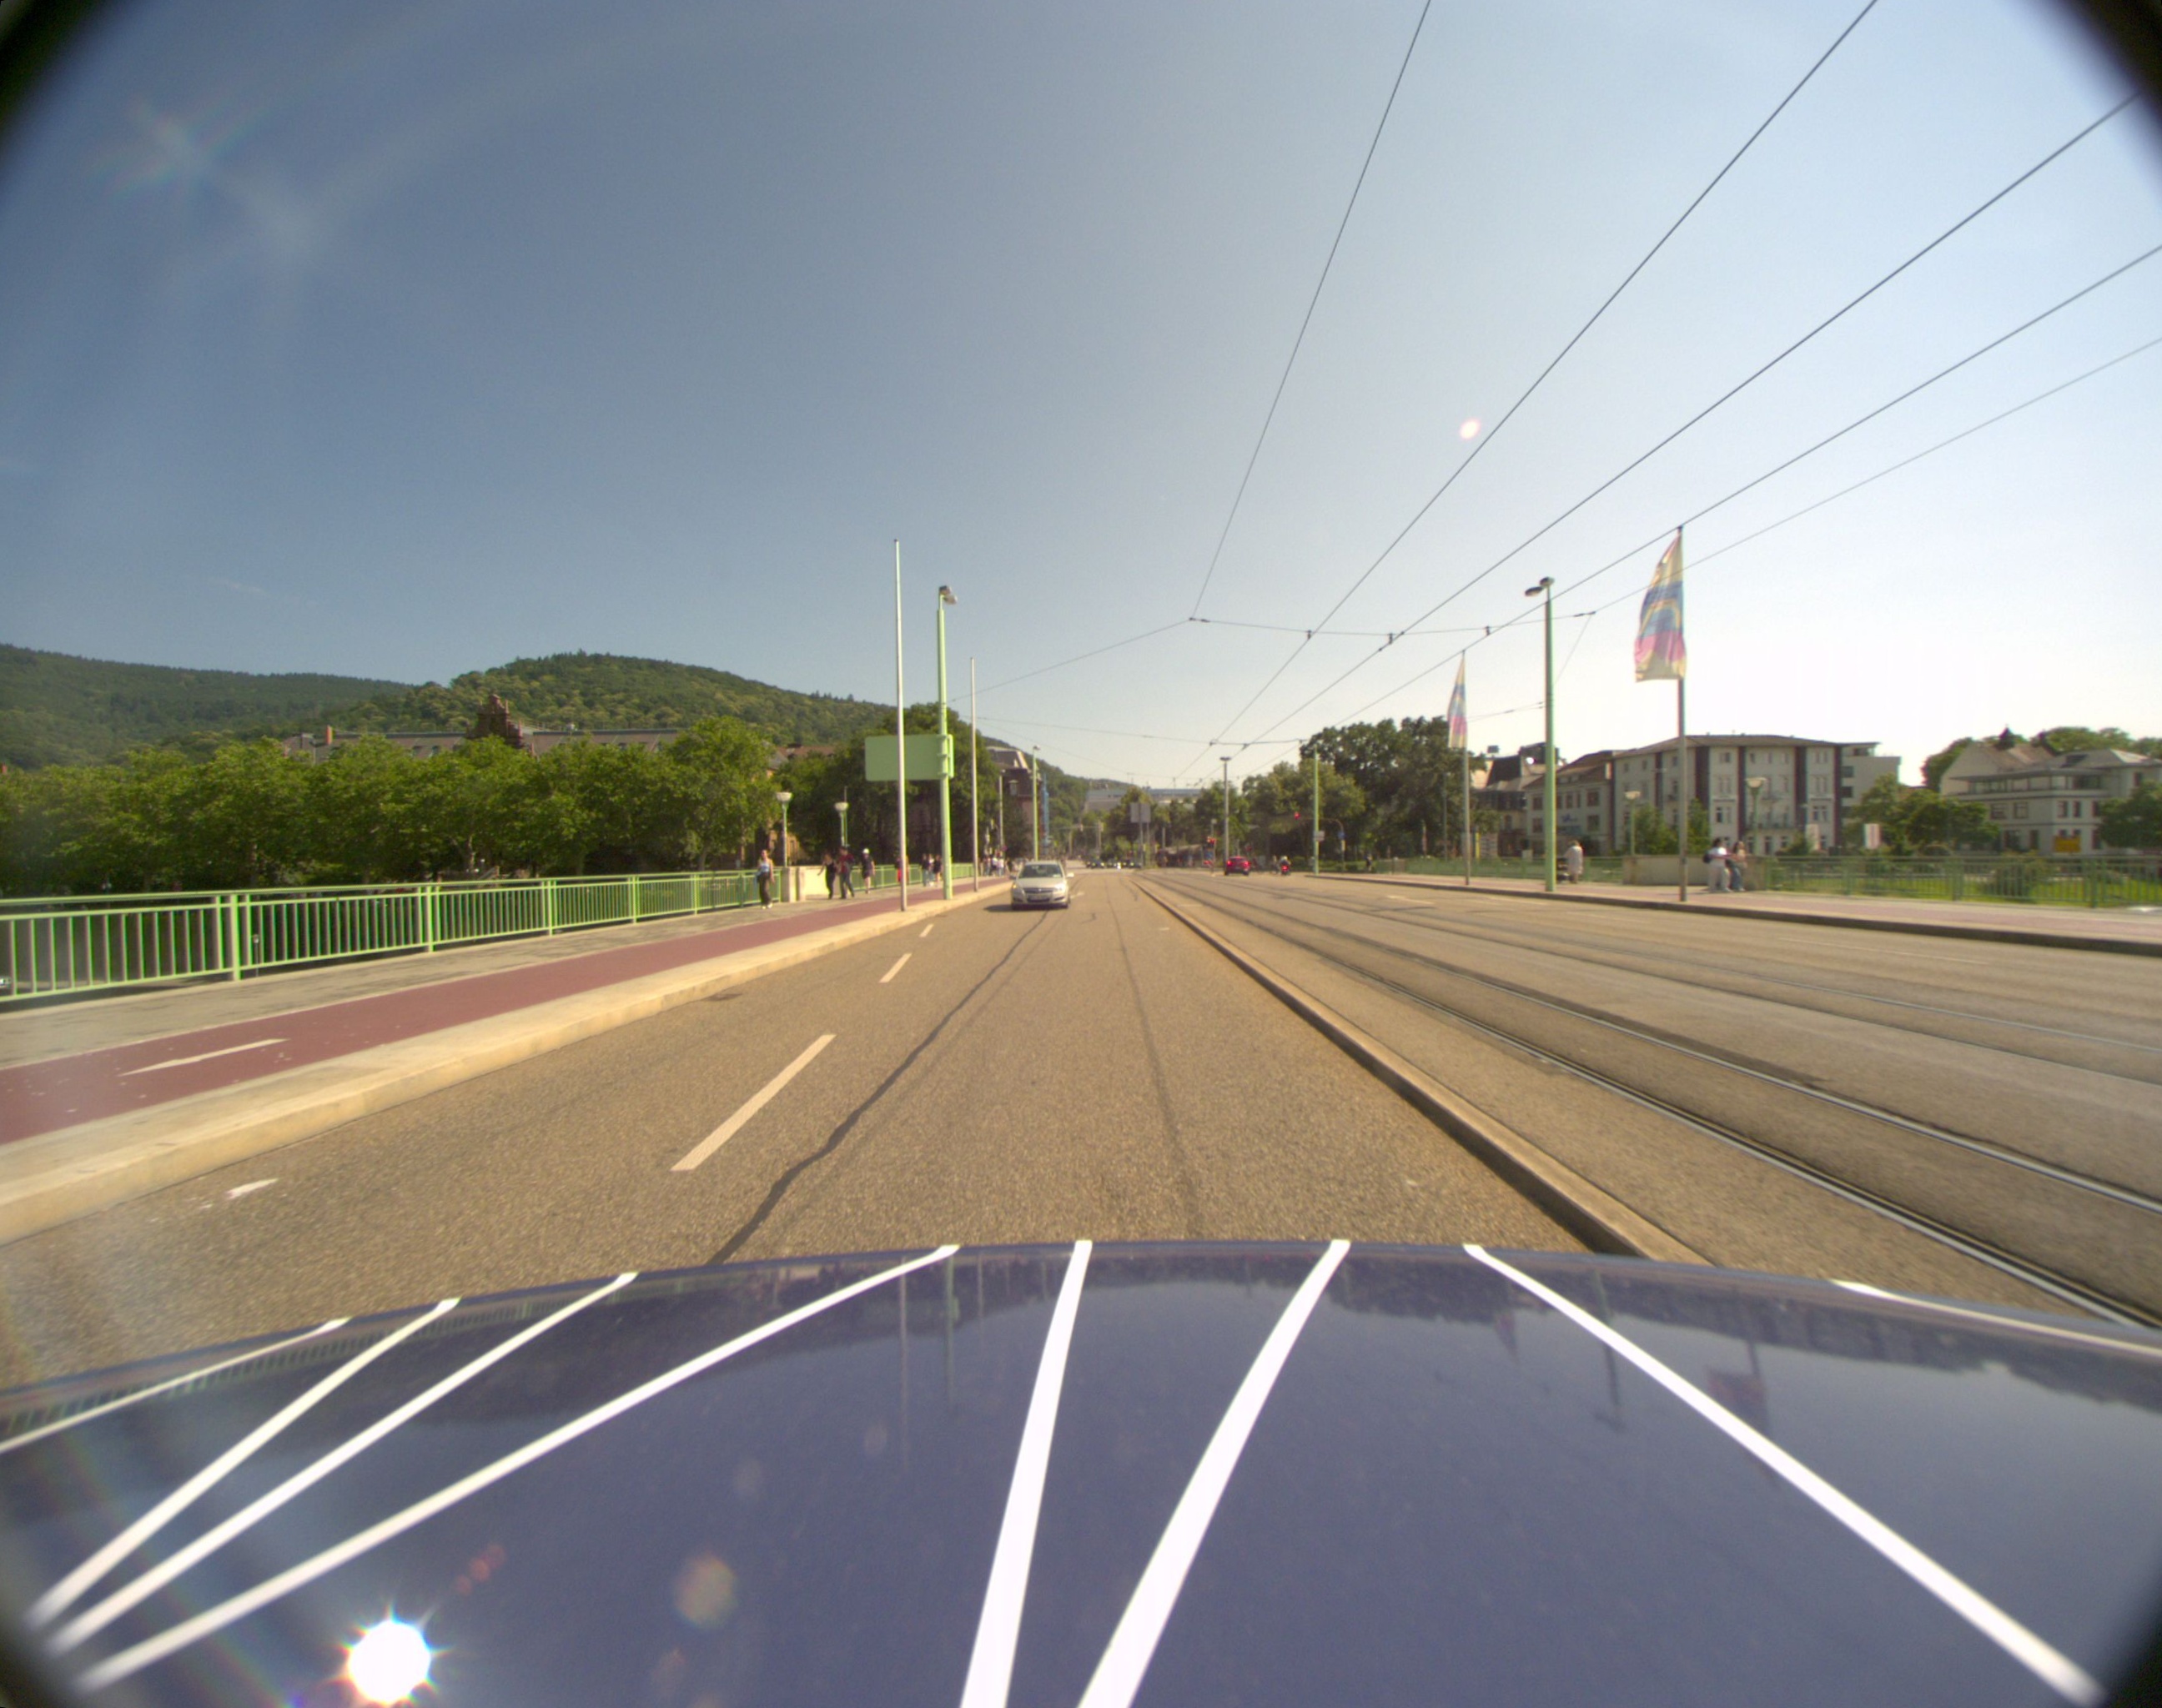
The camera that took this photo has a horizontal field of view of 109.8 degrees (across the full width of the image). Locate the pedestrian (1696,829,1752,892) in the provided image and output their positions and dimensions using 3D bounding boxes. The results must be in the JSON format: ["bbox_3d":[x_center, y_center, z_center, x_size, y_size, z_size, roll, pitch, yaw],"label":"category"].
[{"bbox_3d":[19.235,0.194,22.746,0.740,1.774,0.957,-4,0,-1],"label":"pedestrian"}]

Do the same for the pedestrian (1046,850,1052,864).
[{"bbox_3d":[-4.614,0.482,110.095,0.814,2.002,0.815,2,0,-4],"label":"pedestrian"}]

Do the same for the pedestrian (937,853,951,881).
[{"bbox_3d":[-7.734,0.730,42.923,0.651,1.553,0.692,0,0,2],"label":"pedestrian"}]

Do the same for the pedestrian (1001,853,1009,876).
[{"bbox_3d":[-6.110,0.813,60.915,0.550,1.789,0.645,-1,1,-4],"label":"pedestrian"}]

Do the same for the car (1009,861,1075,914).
[{"bbox_3d":[-1.341,0.984,24.311,1.803,1.492,4.494,0,0,-7],"label":"car"}]

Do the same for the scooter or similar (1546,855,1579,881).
[{"bbox_3d":[19.958,0.565,31.506,0.740,1.023,0.832,-4,0,-1],"label":"scooter or similar"}]

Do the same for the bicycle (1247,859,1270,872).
[{"bbox_3d":[15.868,0.986,67.826,1.916,1.107,0.762,-1,1,16],"label":"bicycle"}]

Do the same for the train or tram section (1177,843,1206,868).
[{"bbox_3d":[19.010,0.279,131.075,2.545,3.753,9.168,-2,-3,-7],"label":"train or tram section"}]

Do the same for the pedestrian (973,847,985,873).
[{"bbox_3d":[-7.832,0.449,58.390,0.805,2.002,0.954,-1,1,-4],"label":"pedestrian"}]

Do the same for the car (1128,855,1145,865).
[{"bbox_3d":[7.947,0.854,108.842,1.753,1.477,4.746,0,0,-3],"label":"car"}]

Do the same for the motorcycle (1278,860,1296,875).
[{"bbox_3d":[16.475,1.074,60.906,0.847,1.018,1.953,-2,-5,0],"label":"motorcycle"}]

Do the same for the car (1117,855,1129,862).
[{"bbox_3d":[7.217,0.799,131.513,1.637,1.301,3.913,0,0,-4],"label":"car"}]

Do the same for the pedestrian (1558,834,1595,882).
[{"bbox_3d":[19.938,0.165,30.585,0.740,1.843,0.975,-4,0,-1],"label":"pedestrian"}]

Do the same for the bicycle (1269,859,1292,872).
[{"bbox_3d":[17.409,1.013,66.449,1.916,1.107,0.762,-1,1,16],"label":"bicycle"}]

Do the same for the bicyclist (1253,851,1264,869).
[{"bbox_3d":[15.826,0.567,67.854,0.878,1.600,0.773,-1,1,18],"label":"bicyclist"}]

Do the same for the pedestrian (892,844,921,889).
[{"bbox_3d":[-7.671,0.538,33.515,1.018,1.942,0.939,-1,1,-1],"label":"pedestrian"}]

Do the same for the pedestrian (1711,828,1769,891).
[{"bbox_3d":[19.828,0.159,22.879,0.740,1.838,1.121,-2,0,-1],"label":"pedestrian"}]

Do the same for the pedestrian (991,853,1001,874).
[{"bbox_3d":[-6.781,0.759,60.593,0.697,1.707,0.731,-1,1,-4],"label":"pedestrian"}]

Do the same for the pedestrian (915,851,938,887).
[{"bbox_3d":[-7.618,0.726,37.529,0.987,1.759,1.254,0,0,-4],"label":"pedestrian"}]

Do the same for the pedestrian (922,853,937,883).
[{"bbox_3d":[-8.537,0.789,42.810,0.651,1.622,0.692,-2,0,2],"label":"pedestrian"}]

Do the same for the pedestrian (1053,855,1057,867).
[{"bbox_3d":[-4.135,1.178,120.202,0.636,1.880,0.903,-2,0,-5],"label":"pedestrian"}]

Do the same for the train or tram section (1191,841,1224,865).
[{"bbox_3d":[20.142,-0.019,121.958,2.411,3.659,9.613,-1,-1,-8],"label":"train or tram section"}]

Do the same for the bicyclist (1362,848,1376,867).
[{"bbox_3d":[24.426,0.327,64.520,0.879,1.600,0.772,-1,1,1],"label":"bicyclist"}]

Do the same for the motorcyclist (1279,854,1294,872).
[{"bbox_3d":[16.466,0.698,60.904,0.847,1.394,0.898,-2,1,-1],"label":"motorcyclist"}]

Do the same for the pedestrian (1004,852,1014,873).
[{"bbox_3d":[-6.400,0.767,67.802,0.775,1.844,0.644,-2,0,5],"label":"pedestrian"}]

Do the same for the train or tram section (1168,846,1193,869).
[{"bbox_3d":[18.229,0.749,139.685,2.545,3.753,9.170,-1,-3,-5],"label":"train or tram section"}]

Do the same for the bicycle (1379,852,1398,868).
[{"bbox_3d":[28.091,0.547,69.388,0.706,1.391,2.163,-5,0,-1],"label":"bicycle"}]

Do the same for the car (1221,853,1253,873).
[{"bbox_3d":[12.326,0.691,60.278,1.998,1.506,4.191,-1,1,5],"label":"car"}]

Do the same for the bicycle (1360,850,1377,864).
[{"bbox_3d":[24.455,0.255,64.722,0.760,1.107,1.920,-1,1,1],"label":"bicycle"}]

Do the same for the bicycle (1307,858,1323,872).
[{"bbox_3d":[19.884,0.955,64.572,0.760,1.107,1.921,-3,-1,3],"label":"bicycle"}]

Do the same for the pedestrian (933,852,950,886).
[{"bbox_3d":[-6.836,0.729,37.251,0.656,1.640,0.868,-1,1,-4],"label":"pedestrian"}]

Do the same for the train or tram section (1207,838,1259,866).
[{"bbox_3d":[22.265,-0.397,112.189,2.479,3.755,11.831,2,1,-15],"label":"train or tram section"}]

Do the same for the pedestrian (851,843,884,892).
[{"bbox_3d":[-8.490,0.530,30.286,0.987,1.884,1.253,-1,1,-4],"label":"pedestrian"}]

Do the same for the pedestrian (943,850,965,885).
[{"bbox_3d":[-6.643,0.691,39.711,0.987,1.740,0.929,-1,1,-4],"label":"pedestrian"}]

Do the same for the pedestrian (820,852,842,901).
[{"bbox_3d":[-8.539,0.748,25.997,0.524,1.640,0.699,-1,1,-4],"label":"pedestrian"}]

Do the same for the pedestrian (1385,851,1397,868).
[{"bbox_3d":[28.081,0.502,68.881,0.745,1.447,0.899,-1,1,1],"label":"pedestrian"}]

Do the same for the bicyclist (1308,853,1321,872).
[{"bbox_3d":[19.873,0.732,64.632,0.879,1.599,0.772,0,-1,4],"label":"bicyclist"}]

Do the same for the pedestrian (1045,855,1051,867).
[{"bbox_3d":[-4.699,1.015,107.222,0.814,1.593,0.815,2,0,-4],"label":"pedestrian"}]

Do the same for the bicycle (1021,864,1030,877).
[{"bbox_3d":[-4.633,1.357,63.160,0.643,1.076,2.496,0,0,-1],"label":"bicycle"}]

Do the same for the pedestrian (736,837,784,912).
[{"bbox_3d":[-8.896,0.545,21.106,0.876,2.002,1.058,-1,1,-4],"label":"pedestrian"}]

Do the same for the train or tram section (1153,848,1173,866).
[{"bbox_3d":[15.094,0.548,140.188,2.768,3.383,5.884,0,0,-4],"label":"train or tram section"}]

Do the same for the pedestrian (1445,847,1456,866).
[{"bbox_3d":[34.194,0.236,70.300,0.702,1.782,0.694,-1,1,-42],"label":"pedestrian"}]

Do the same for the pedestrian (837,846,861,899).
[{"bbox_3d":[-7.927,0.630,25.970,0.587,1.783,0.632,-1,1,-3],"label":"pedestrian"}]

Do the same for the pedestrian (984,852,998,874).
[{"bbox_3d":[-6.943,0.686,58.591,0.987,1.606,0.921,-1,1,-4],"label":"pedestrian"}]

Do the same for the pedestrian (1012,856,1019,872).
[{"bbox_3d":[-8.029,1.237,93.144,0.777,2.002,1.059,0,0,-3],"label":"pedestrian"}]

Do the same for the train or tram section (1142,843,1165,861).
[{"bbox_3d":[14.149,-0.341,149.389,2.767,3.383,12.408,0,0,-3],"label":"train or tram section"}]

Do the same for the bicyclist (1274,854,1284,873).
[{"bbox_3d":[17.320,0.823,66.467,0.770,1.600,0.881,0,1,15],"label":"bicyclist"}]

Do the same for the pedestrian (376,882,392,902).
[{"bbox_3d":[-61.704,3.370,67.299,0.742,1.765,0.676,-2,0,-4],"label":"pedestrian"}]

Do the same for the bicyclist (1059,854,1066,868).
[{"bbox_3d":[-2.602,0.937,107.797,0.944,2.002,0.830,0,0,-4],"label":"bicyclist"}]

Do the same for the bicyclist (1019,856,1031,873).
[{"bbox_3d":[-4.629,0.865,63.176,0.912,1.385,1.232,0,0,-2],"label":"bicyclist"}]

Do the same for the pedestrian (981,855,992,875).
[{"bbox_3d":[-7.784,0.878,62.826,0.801,1.625,0.949,-1,1,-3],"label":"pedestrian"}]

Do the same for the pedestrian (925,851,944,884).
[{"bbox_3d":[-7.628,0.712,39.541,0.836,1.667,0.885,-1,1,-4],"label":"pedestrian"}]
